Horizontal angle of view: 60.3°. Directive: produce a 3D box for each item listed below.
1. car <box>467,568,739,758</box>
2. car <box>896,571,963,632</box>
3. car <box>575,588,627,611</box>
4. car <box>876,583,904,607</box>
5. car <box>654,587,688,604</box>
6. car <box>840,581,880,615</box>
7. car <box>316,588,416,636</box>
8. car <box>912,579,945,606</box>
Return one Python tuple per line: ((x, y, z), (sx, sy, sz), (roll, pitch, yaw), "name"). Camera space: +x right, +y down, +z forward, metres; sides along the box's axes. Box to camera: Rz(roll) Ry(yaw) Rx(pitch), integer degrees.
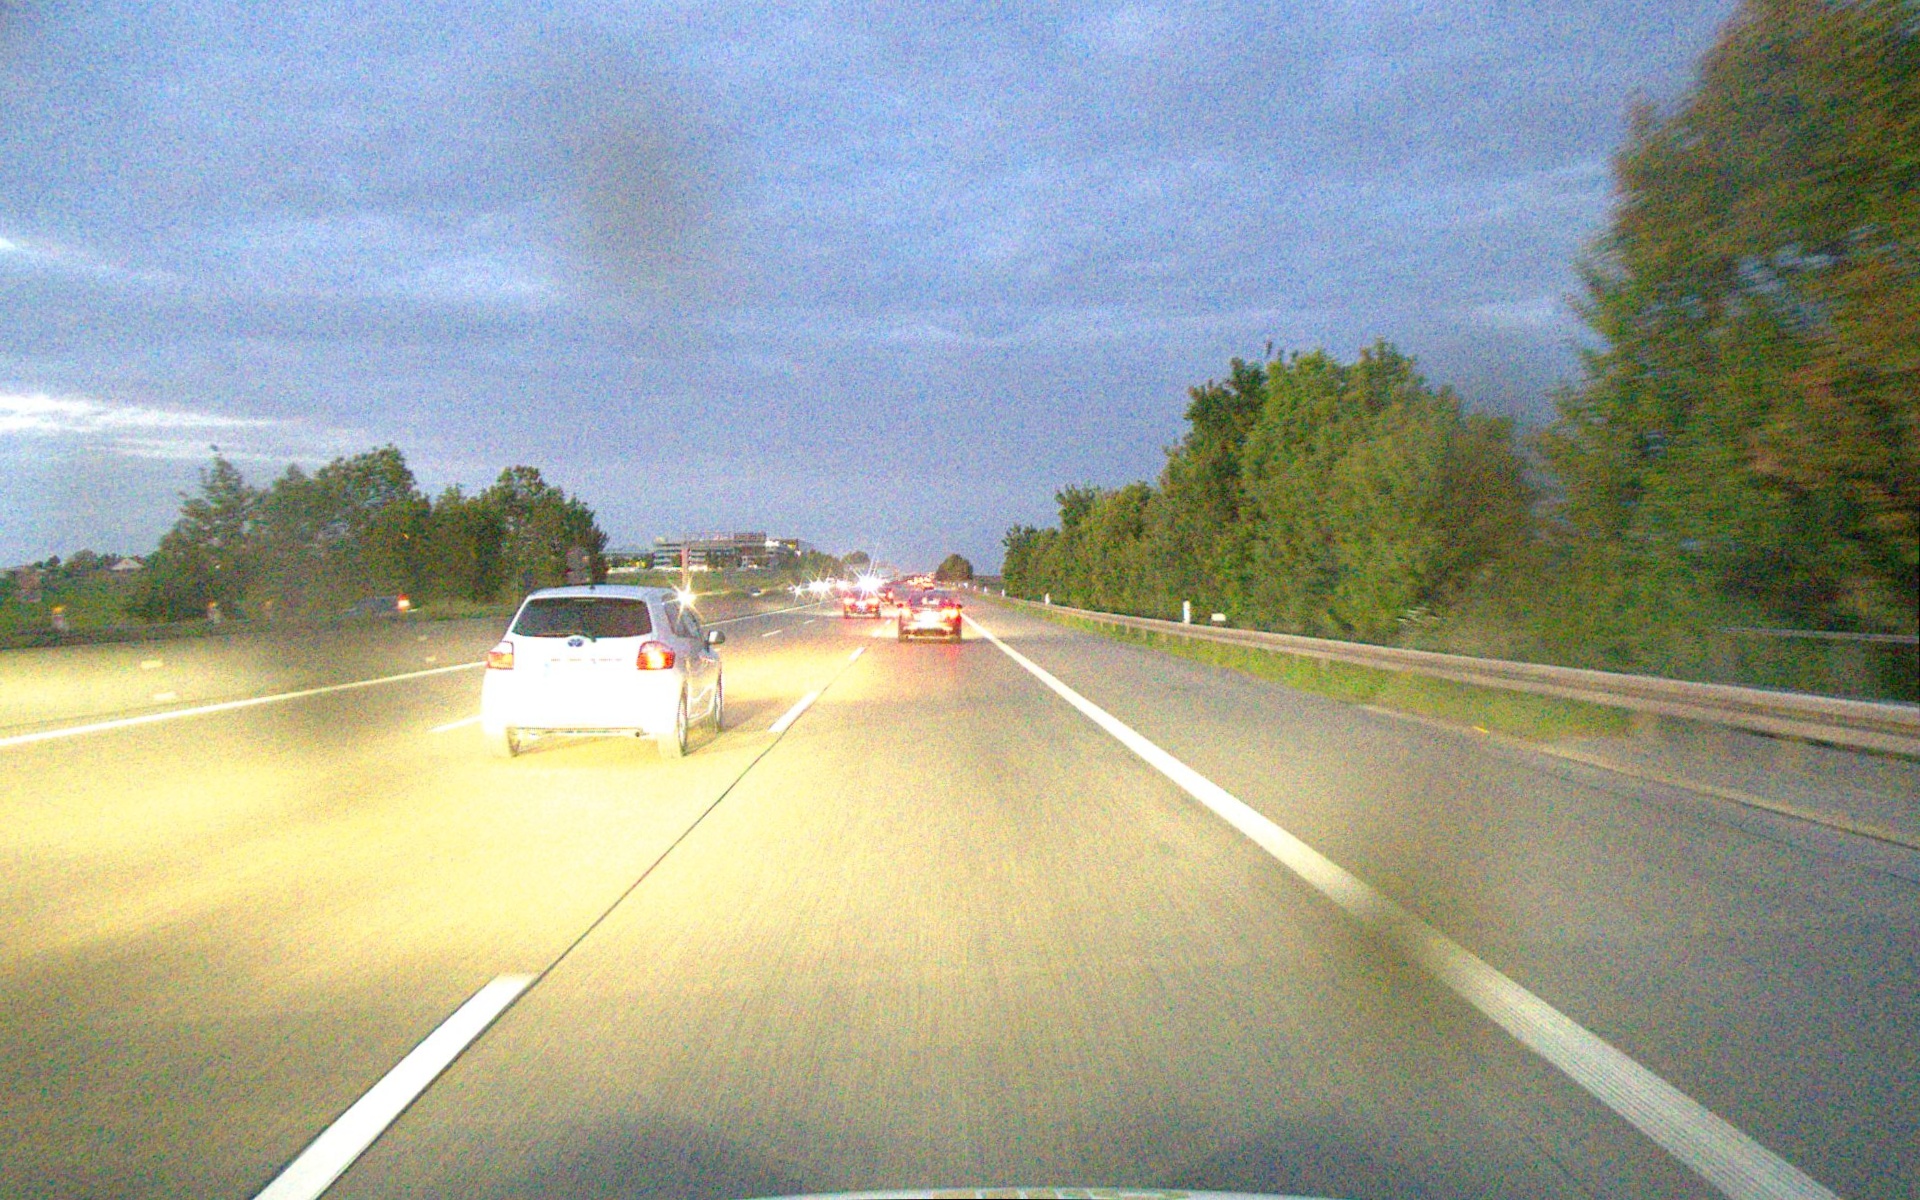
((-3.268, 0.526, 15.972), (1.709, 1.551, 4.413), (1, 0, -1), "car")
((-0.906, 0.035, 48.355), (1.842, 1.672, 3.999), (1, 0, -2), "car")
((-16.587, -0.024, 76.524), (1.658, 1.006, 3.565), (1, 0, -1), "car")
((-5.659, -0.419, 134.462), (2.154, 1.912, 3.999), (1, 0, -2), "car")
((-21.638, -0.333, 123.874), (1.892, 1.199, 3.999), (1, 0, -1), "car")
((-4.946, -0.104, 82.099), (1.842, 1.579, 3.998), (1, 0, -2), "car")
((-19.601, 0.383, 54.767), (1.953, 1.514, 3.999), (1, 0, -2), "car")
((-1.916, -0.424, 99.739), (1.842, 1.579, 3.998), (1, 0, -2), "car")
